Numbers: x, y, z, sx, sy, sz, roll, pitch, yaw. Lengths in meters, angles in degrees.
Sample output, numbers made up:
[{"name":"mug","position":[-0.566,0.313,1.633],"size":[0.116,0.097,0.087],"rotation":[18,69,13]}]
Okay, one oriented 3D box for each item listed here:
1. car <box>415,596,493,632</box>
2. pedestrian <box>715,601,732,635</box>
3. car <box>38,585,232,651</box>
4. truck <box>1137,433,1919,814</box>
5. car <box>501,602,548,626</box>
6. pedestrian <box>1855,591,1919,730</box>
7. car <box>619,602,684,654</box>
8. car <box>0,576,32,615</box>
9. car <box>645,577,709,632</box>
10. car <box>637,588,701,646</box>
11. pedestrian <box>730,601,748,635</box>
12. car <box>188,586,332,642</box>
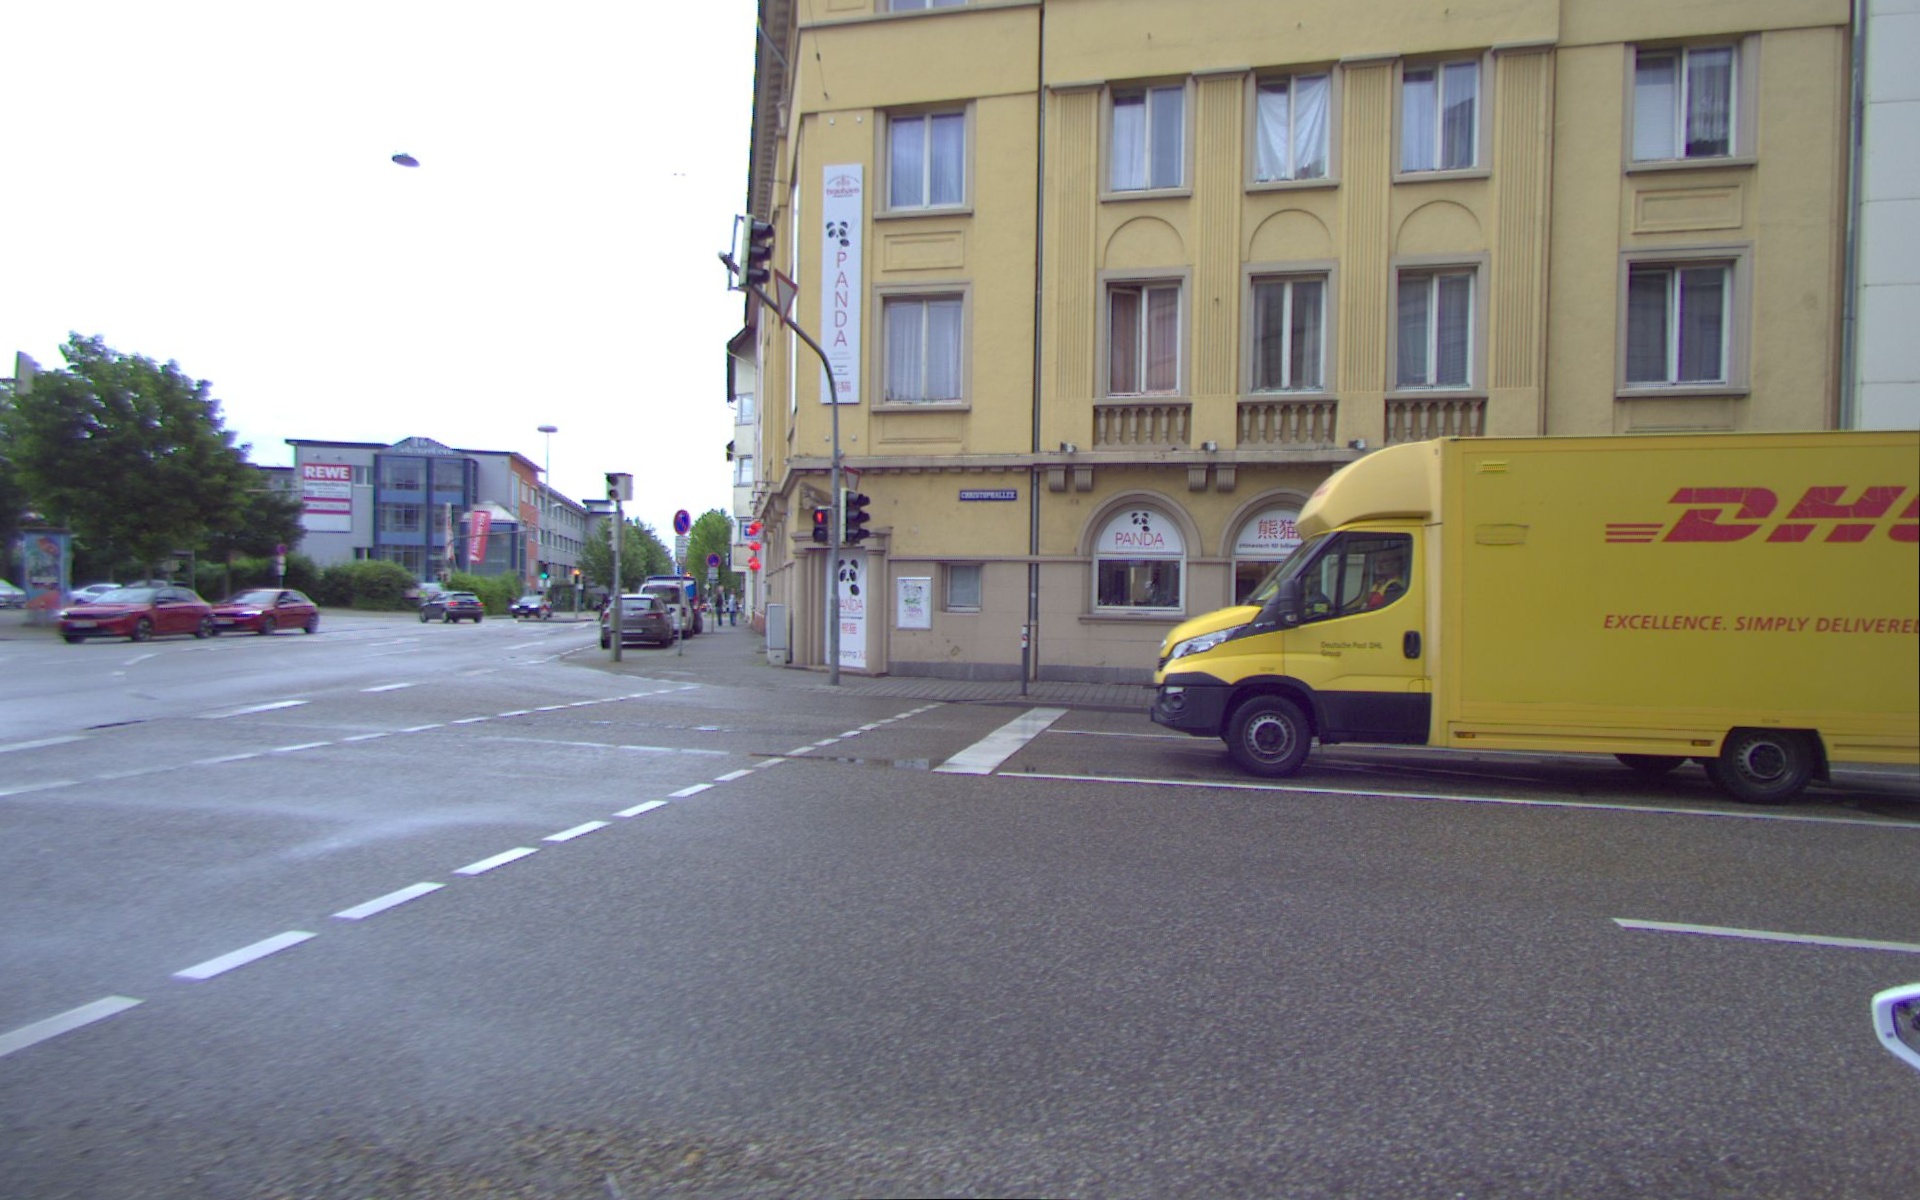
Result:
[{"name":"car","position":[-25.031,0.687,49.557],"size":[2.280,1.605,5.001],"rotation":[2,0,-41]},{"name":"pedestrian","position":[-12.352,0.933,52.496],"size":[0.734,1.747,0.767],"rotation":[2,0,-23]},{"name":"car","position":[-21.350,0.436,26.238],"size":[1.987,1.538,4.034],"rotation":[2,0,-7]},{"name":"truck","position":[5.100,0.122,8.840],"size":[6.882,2.787,2.237],"rotation":[2,0,10]},{"name":"car","position":[-30.686,0.957,70.920],"size":[2.260,1.605,5.045],"rotation":[2,0,-15]},{"name":"pedestrian","position":[13.108,0.813,13.635],"size":[1.012,1.795,0.896],"rotation":[2,4,10]},{"name":"car","position":[-8.500,0.738,27.788],"size":[1.590,1.305,3.986],"rotation":[1,0,-17]},{"name":"car","position":[-47.771,-0.253,50.118],"size":[1.984,1.873,3.952],"rotation":[2,0,-41]},{"name":"car","position":[-11.381,0.177,40.307],"size":[2.261,2.031,5.044],"rotation":[2,0,-17]},{"name":"car","position":[-9.885,0.540,34.101],"size":[1.923,1.822,3.986],"rotation":[2,0,-17]},{"name":"pedestrian","position":[-11.618,0.953,52.819],"size":[0.734,1.747,0.767],"rotation":[2,0,-23]},{"name":"car","position":[-21.892,0.412,31.618],"size":[1.987,1.605,4.034],"rotation":[2,0,-7]}]
